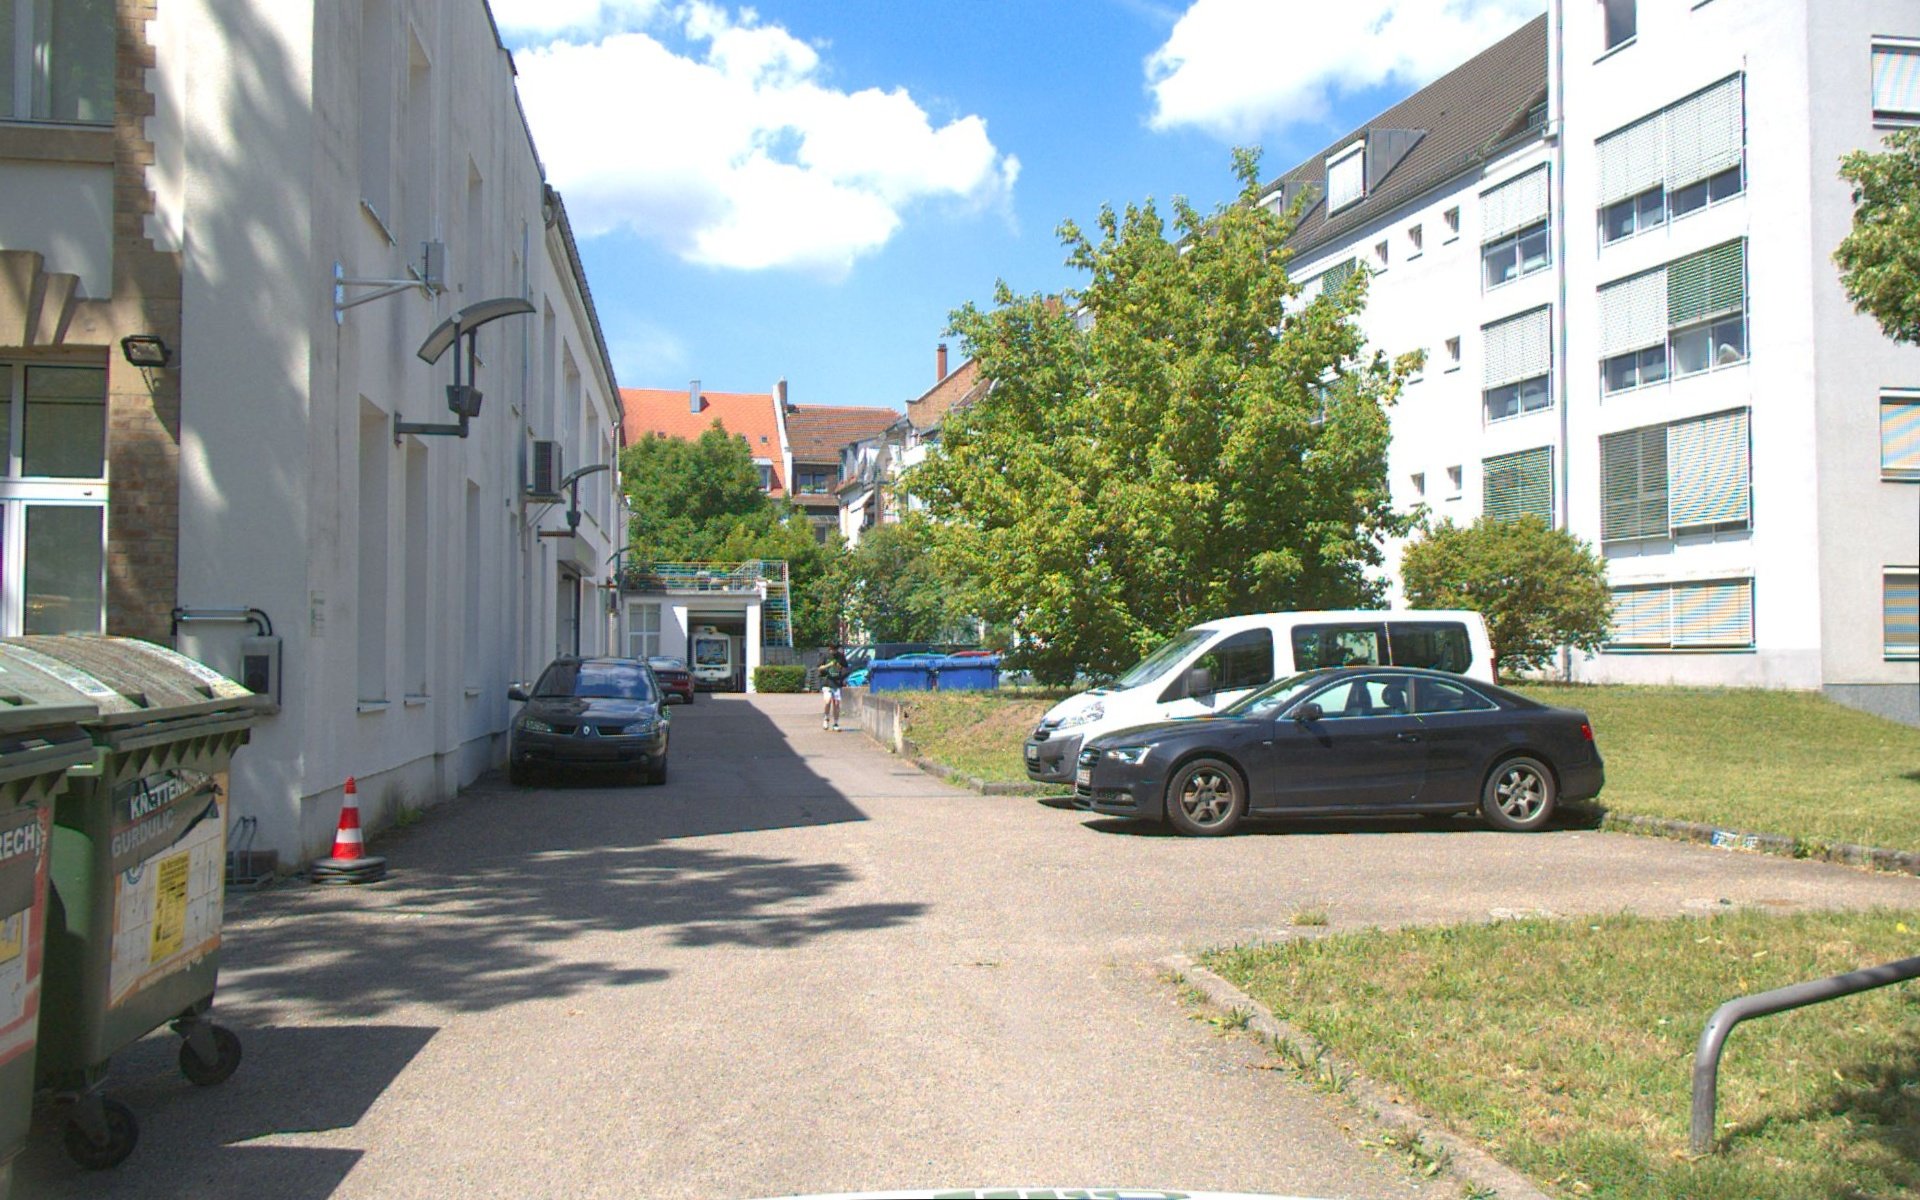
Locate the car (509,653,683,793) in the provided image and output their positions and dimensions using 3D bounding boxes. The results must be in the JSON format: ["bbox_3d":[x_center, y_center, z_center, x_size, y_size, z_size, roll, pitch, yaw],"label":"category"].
[{"bbox_3d":[-4.292,1.397,20.049,1.722,1.455,4.377,0,-1,-8],"label":"car"}]

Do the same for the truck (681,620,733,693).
[{"bbox_3d":[-10.761,2.388,70.211,1.758,2.989,4.635,0,-2,-14],"label":"truck"}]

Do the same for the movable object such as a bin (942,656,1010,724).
[{"bbox_3d":[0.318,1.831,34.070,1.194,1.350,1.157,0,-2,-11],"label":"movable object such as a bin"}]

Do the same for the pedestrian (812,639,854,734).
[{"bbox_3d":[-2.435,1.639,31.557,0.743,1.786,0.750,0,-2,-8],"label":"pedestrian"}]

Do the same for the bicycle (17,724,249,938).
[{"bbox_3d":[-4.529,1.224,9.184,0.600,0.975,1.727,0,-1,-7],"label":"bicycle"}]

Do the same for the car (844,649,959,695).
[{"bbox_3d":[-2.112,2.569,59.454,3.916,1.561,1.799,0,-2,-11],"label":"car"}]

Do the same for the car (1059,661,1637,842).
[{"bbox_3d":[3.263,1.239,14.302,4.527,1.376,1.829,0,-1,-10],"label":"car"}]

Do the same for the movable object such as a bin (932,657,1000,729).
[{"bbox_3d":[0.106,1.799,32.352,1.193,1.350,1.158,0,-2,-7],"label":"movable object such as a bin"}]

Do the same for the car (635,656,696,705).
[{"bbox_3d":[-9.102,2.448,51.187,1.766,1.415,3.990,0,-2,-10],"label":"car"}]

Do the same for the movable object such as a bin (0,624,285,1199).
[{"bbox_3d":[-2.736,0.838,4.931,1.025,1.505,1.407,0,-2,-9],"label":"movable object such as a bin"}]

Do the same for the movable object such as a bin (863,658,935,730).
[{"bbox_3d":[-1.192,1.816,32.109,1.313,1.350,1.158,0,-2,-7],"label":"movable object such as a bin"}]

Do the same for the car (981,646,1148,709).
[{"bbox_3d":[2.634,1.945,42.135,3.916,1.504,1.799,0,-2,-11],"label":"car"}]

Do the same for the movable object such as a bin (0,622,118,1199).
[{"bbox_3d":[-2.536,0.805,3.455,1.025,1.505,1.259,0,-2,-9],"label":"movable object such as a bin"}]

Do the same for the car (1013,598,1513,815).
[{"bbox_3d":[3.027,1.042,17.030,4.672,2.049,1.995,0,-2,-10],"label":"car"}]

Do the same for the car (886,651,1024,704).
[{"bbox_3d":[-0.172,2.318,50.052,3.916,1.504,1.799,0,-2,-11],"label":"car"}]

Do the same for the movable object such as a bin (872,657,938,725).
[{"bbox_3d":[-1.141,1.851,33.874,1.171,1.350,1.157,0,-2,-11],"label":"movable object such as a bin"}]

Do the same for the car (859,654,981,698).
[{"bbox_3d":[-1.389,2.572,56.560,3.916,1.415,1.799,0,-2,-11],"label":"car"}]
